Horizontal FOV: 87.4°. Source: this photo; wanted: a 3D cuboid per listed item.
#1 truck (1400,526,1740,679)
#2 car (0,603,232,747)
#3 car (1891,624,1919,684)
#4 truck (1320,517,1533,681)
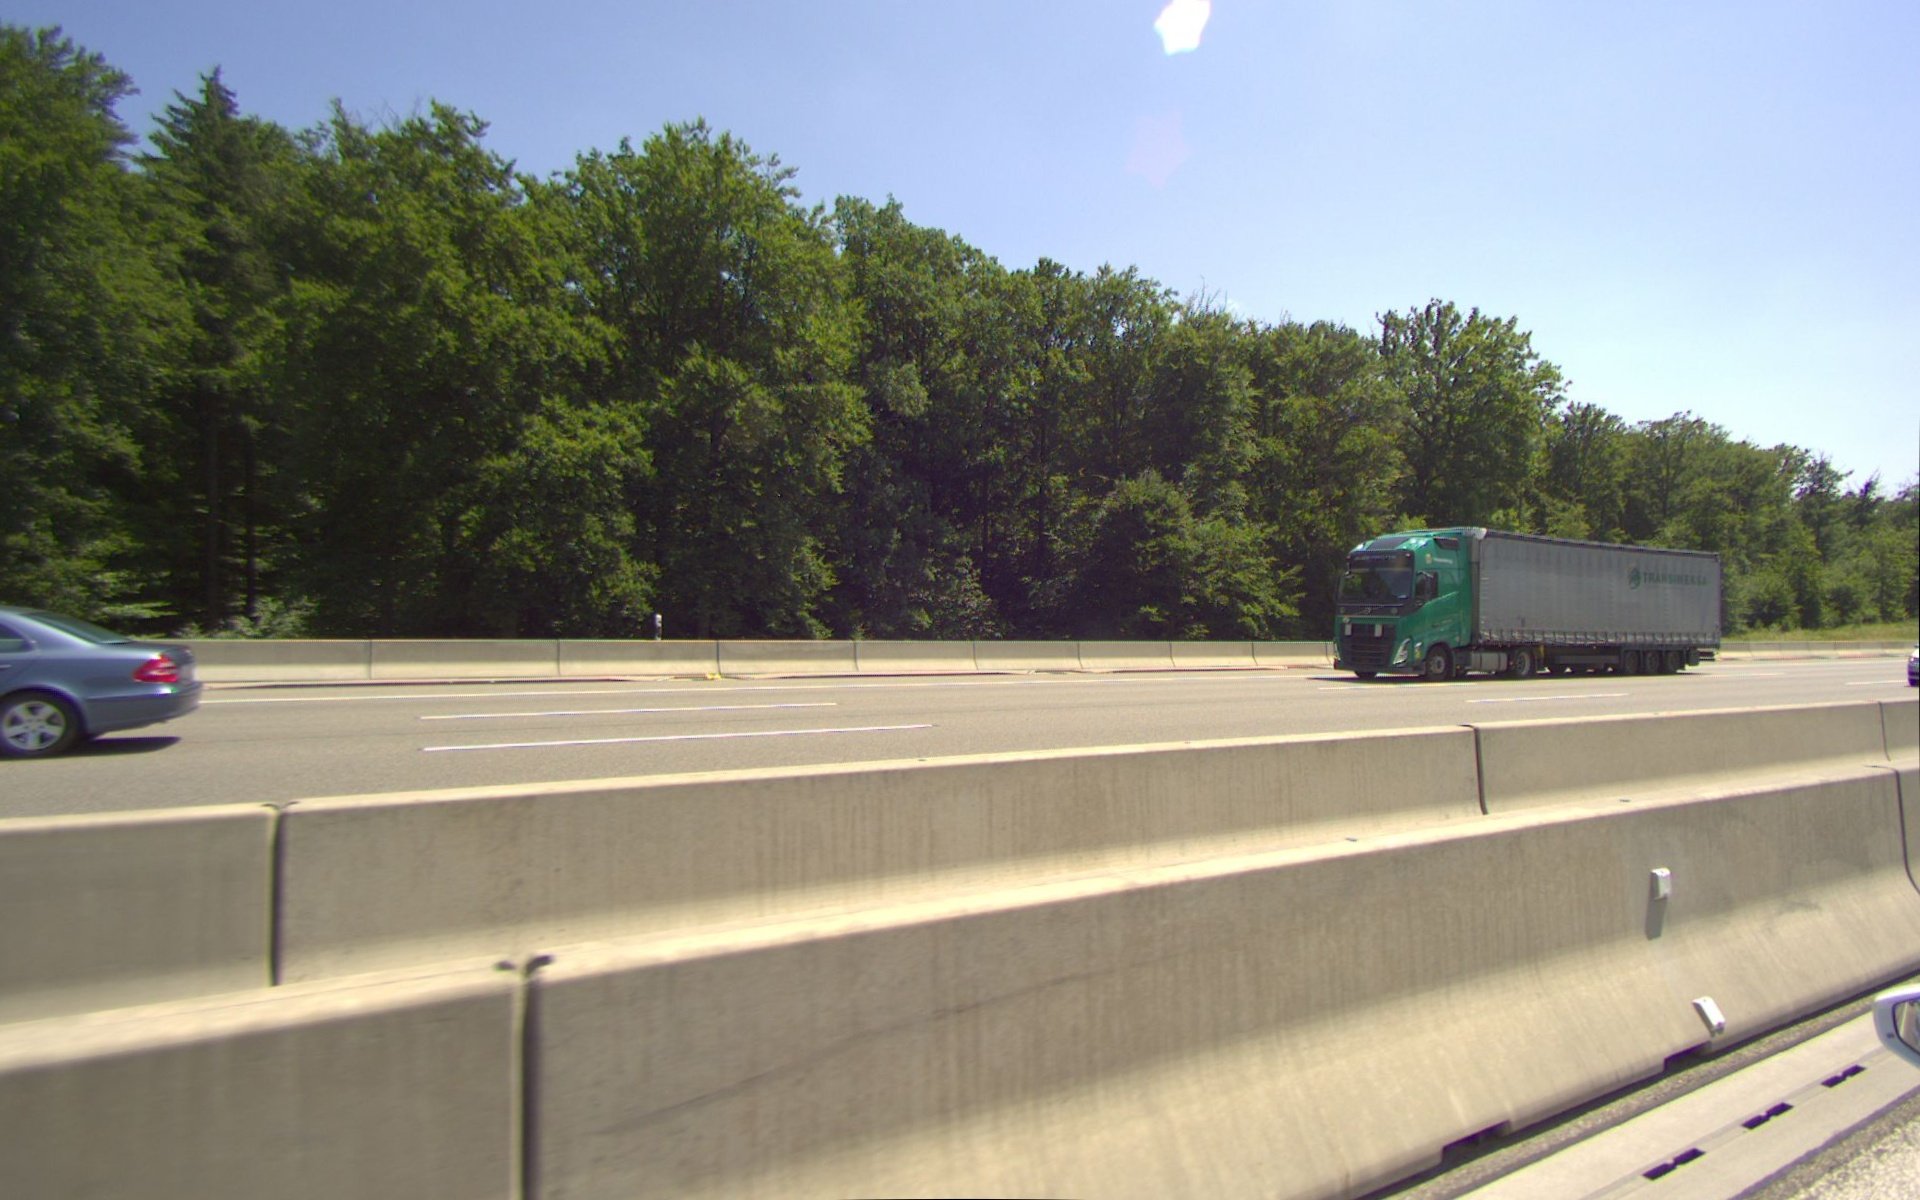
[{"bbox_3d":[19.470,0.227,31.389,14.130,4.079,2.677,2,0,-30],"label":"truck"},{"bbox_3d":[-9.991,0.675,9.623,4.674,1.318,1.823,2,-1,-31],"label":"car"},{"bbox_3d":[27.699,1.491,27.633,4.721,1.582,1.823,2,-1,-31],"label":"car"},{"bbox_3d":[12.789,0.032,27.460,5.447,4.079,2.644,1,0,-31],"label":"truck"}]
